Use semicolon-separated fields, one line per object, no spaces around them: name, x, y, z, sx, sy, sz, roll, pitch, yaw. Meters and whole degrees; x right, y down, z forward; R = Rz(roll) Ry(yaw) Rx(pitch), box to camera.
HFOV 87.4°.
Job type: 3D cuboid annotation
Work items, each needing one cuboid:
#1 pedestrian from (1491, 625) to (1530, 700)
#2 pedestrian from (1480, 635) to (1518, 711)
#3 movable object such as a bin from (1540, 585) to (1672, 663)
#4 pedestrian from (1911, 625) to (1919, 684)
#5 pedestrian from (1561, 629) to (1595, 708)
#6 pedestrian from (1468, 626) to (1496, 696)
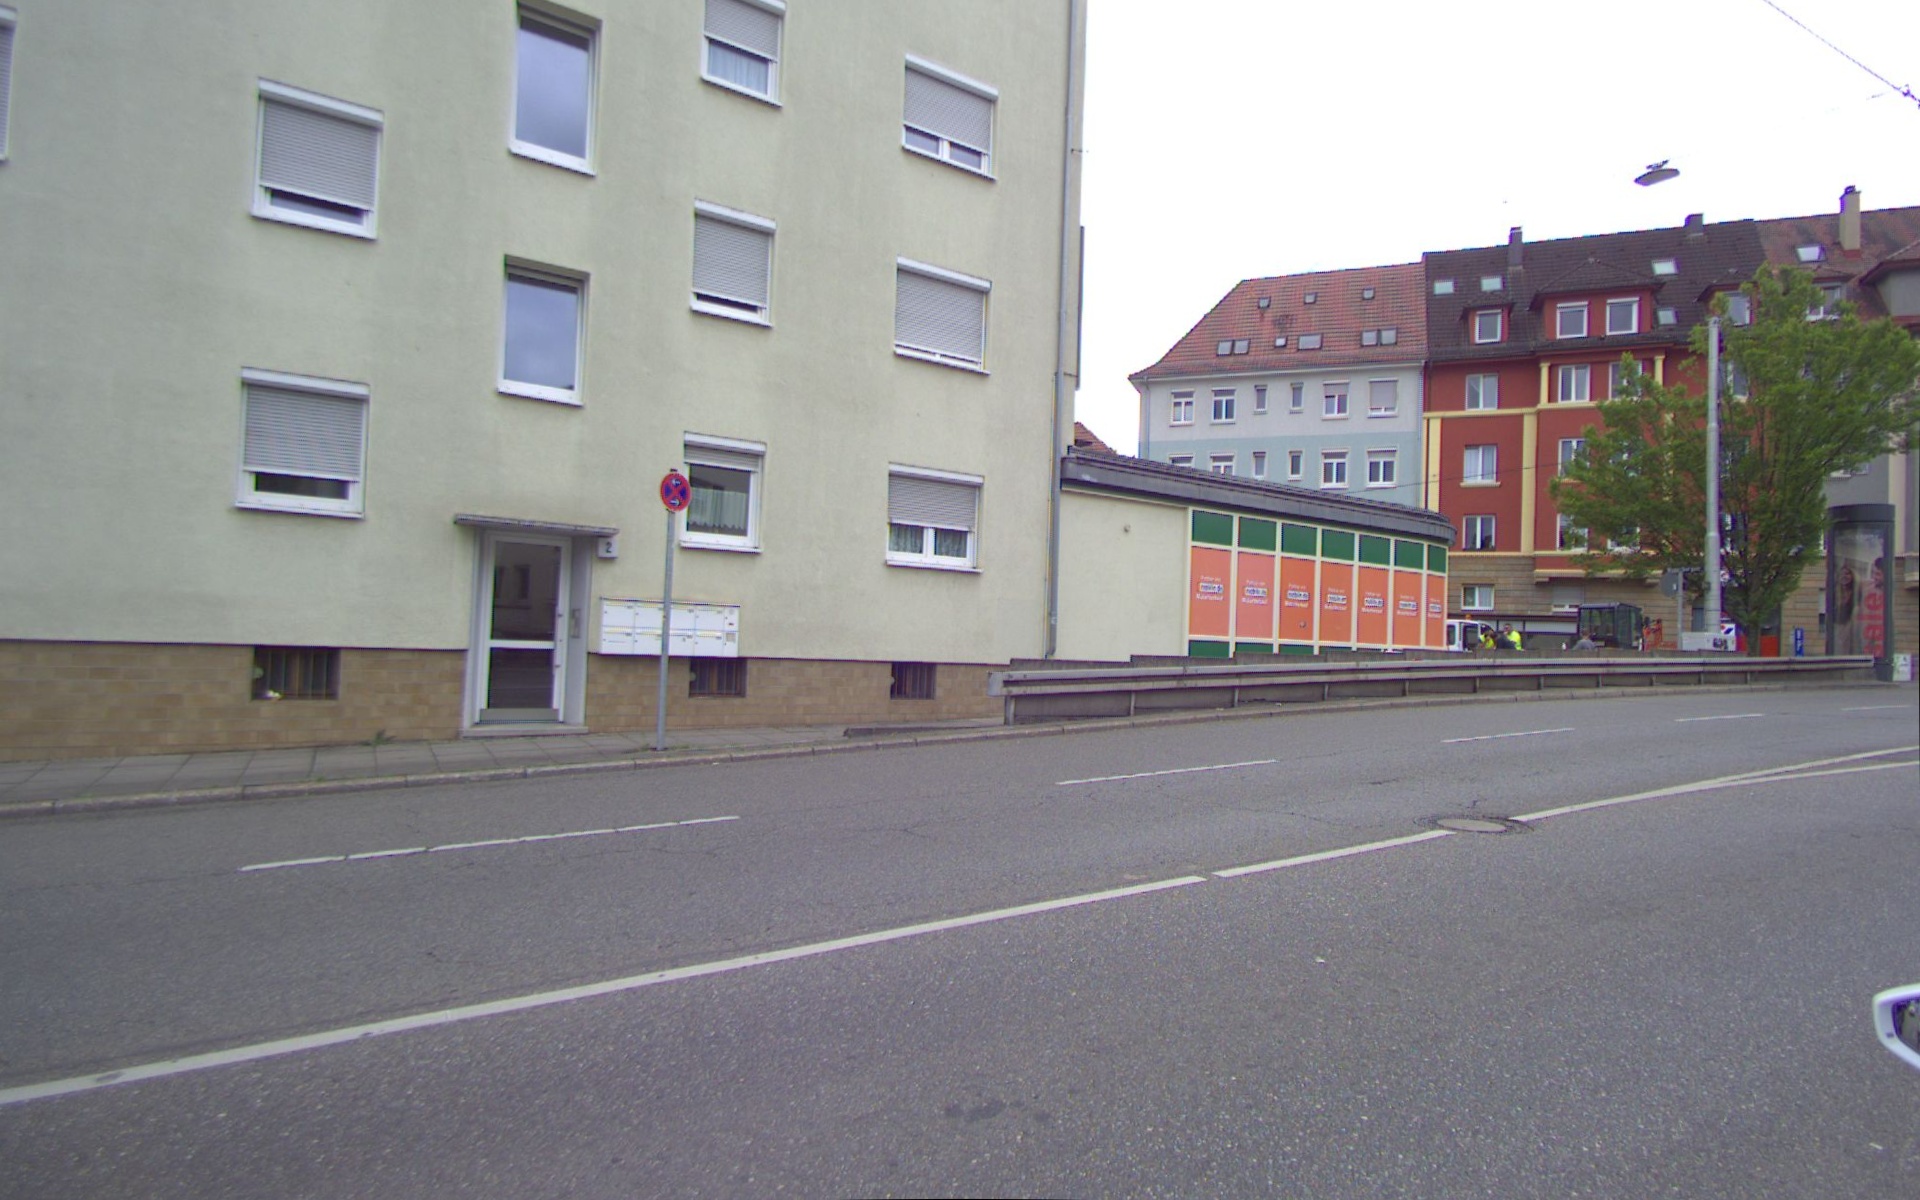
pedestrian;13.651;1.535;24.911;0.605;1.785;0.573;2;1;5
pedestrian;12.661;1.701;23.594;0.539;1.722;0.557;1;1;-41
movable object such as a bin;16.554;0.591;25.672;3.972;1.795;1.884;2;1;-43
pedestrian;26.101;1.483;27.008;0.480;1.588;0.586;2;1;-30
pedestrian;14.360;1.581;23.355;0.533;1.753;0.593;3;1;26
pedestrian;13.459;1.557;25.895;0.467;1.753;0.543;2;1;14
